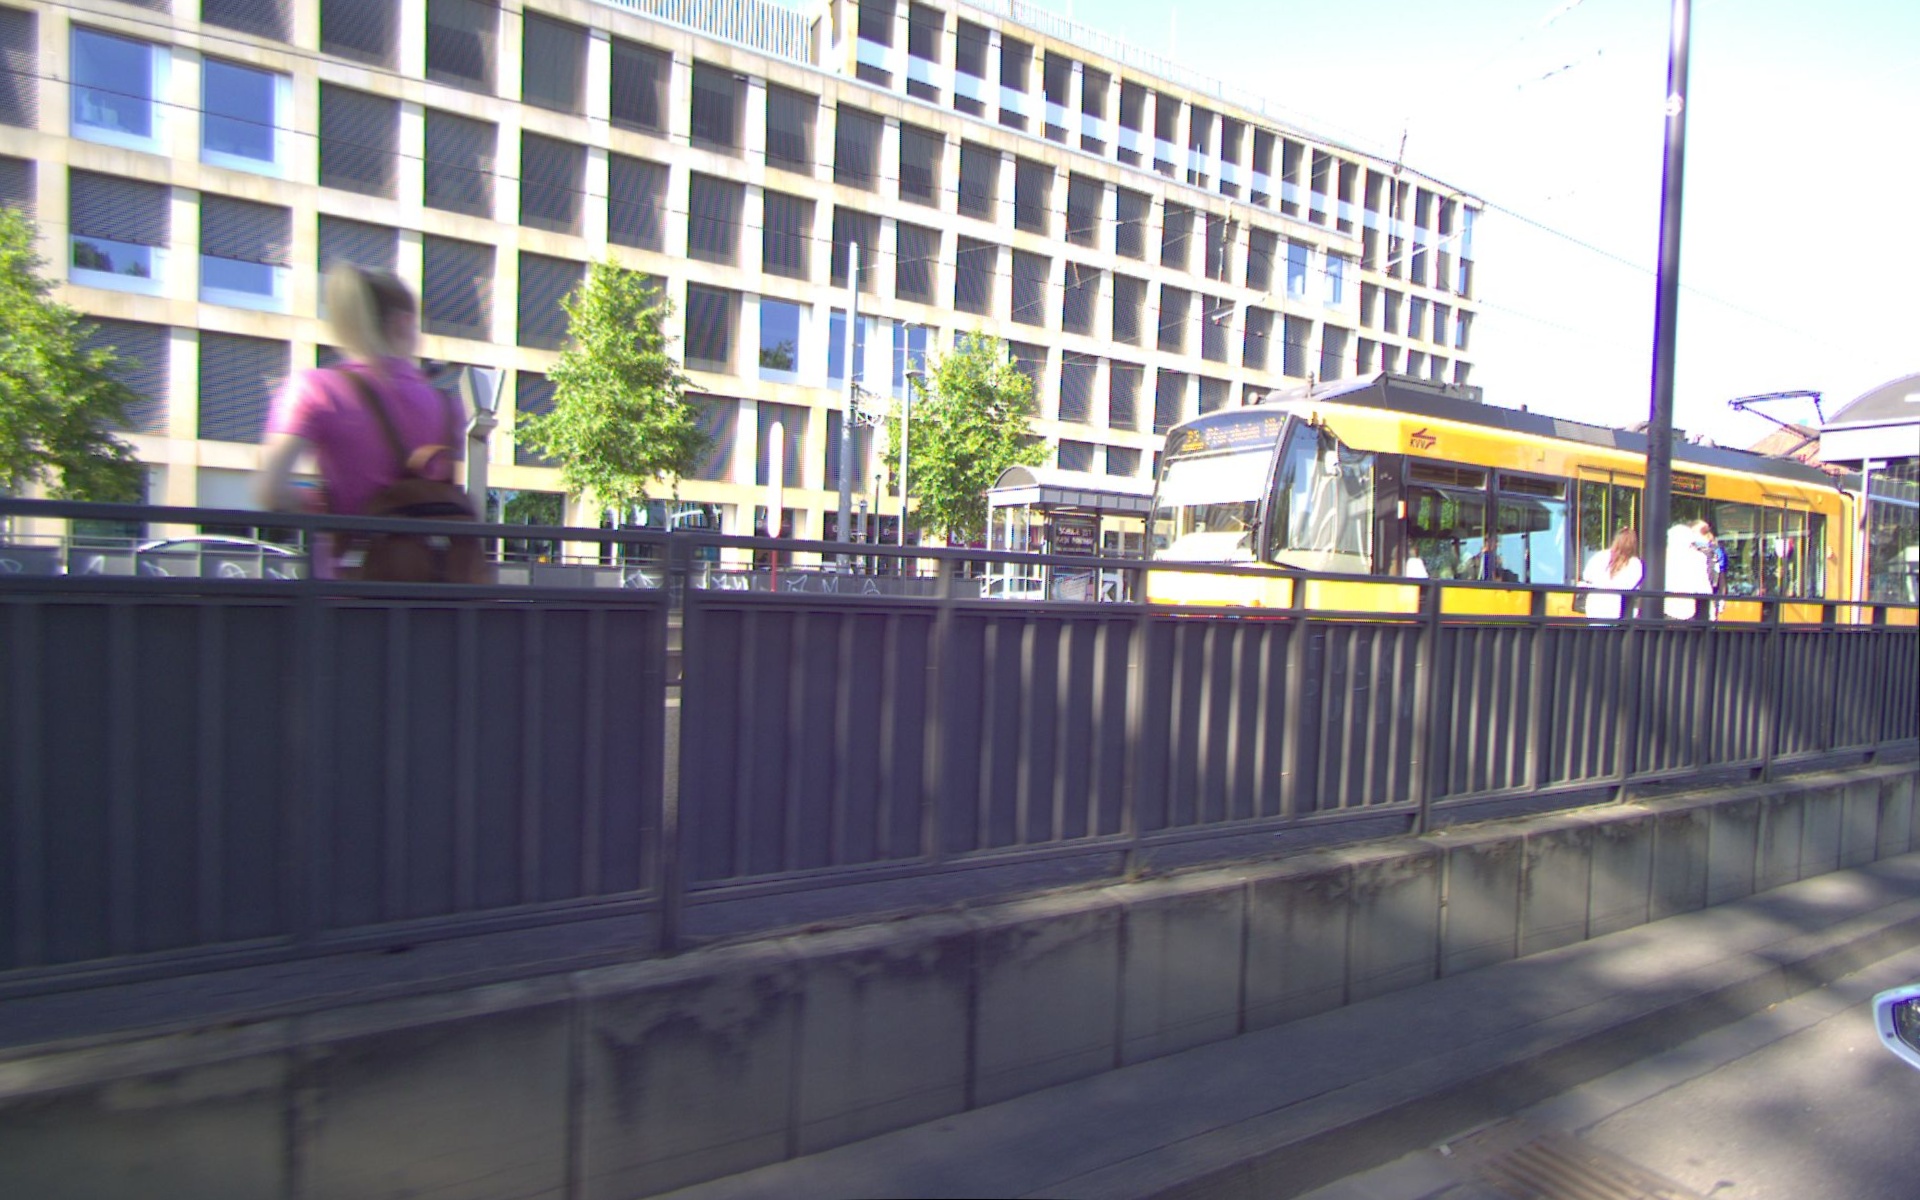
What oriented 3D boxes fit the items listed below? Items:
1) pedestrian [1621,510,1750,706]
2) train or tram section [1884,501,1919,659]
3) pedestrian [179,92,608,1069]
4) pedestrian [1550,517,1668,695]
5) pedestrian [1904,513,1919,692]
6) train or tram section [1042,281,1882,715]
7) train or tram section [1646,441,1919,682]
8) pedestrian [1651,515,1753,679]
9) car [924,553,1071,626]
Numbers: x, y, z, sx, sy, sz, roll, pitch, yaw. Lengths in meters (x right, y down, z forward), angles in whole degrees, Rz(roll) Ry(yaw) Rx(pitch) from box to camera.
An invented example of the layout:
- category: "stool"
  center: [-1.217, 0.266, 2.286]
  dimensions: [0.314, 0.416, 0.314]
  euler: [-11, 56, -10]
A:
- category: "pedestrian"
  center: [7.011, 0.064, 9.748]
  dimensions: [0.780, 1.808, 0.649]
  euler: [3, 2, 20]
- category: "train or tram section"
  center: [29.040, -0.332, 26.645]
  dimensions: [11.705, 3.881, 3.292]
  euler: [1, 2, -31]
- category: "pedestrian"
  center: [-1.207, -0.033, 2.142]
  dimensions: [0.604, 1.664, 0.610]
  euler: [3, 2, 41]
- category: "pedestrian"
  center: [6.911, 0.052, 10.717]
  dimensions: [0.618, 1.808, 0.789]
  euler: [1, 2, -30]
- category: "pedestrian"
  center: [10.101, 0.038, 10.126]
  dimensions: [0.673, 1.808, 0.607]
  euler: [1, 2, -30]
- category: "train or tram section"
  center: [7.891, -0.830, 14.024]
  dimensions: [14.053, 3.881, 3.292]
  euler: [1, 2, -31]
- category: "train or tram section"
  center: [18.973, -0.565, 20.641]
  dimensions: [11.705, 3.881, 3.292]
  euler: [1, 2, -31]
- category: "pedestrian"
  center: [8.497, -0.034, 11.505]
  dimensions: [0.766, 1.808, 0.608]
  euler: [1, 2, -30]
- category: "car"
  center: [1.132, -0.311, 29.983]
  dimensions: [3.956, 2.041, 1.982]
  euler: [1, 2, -33]
